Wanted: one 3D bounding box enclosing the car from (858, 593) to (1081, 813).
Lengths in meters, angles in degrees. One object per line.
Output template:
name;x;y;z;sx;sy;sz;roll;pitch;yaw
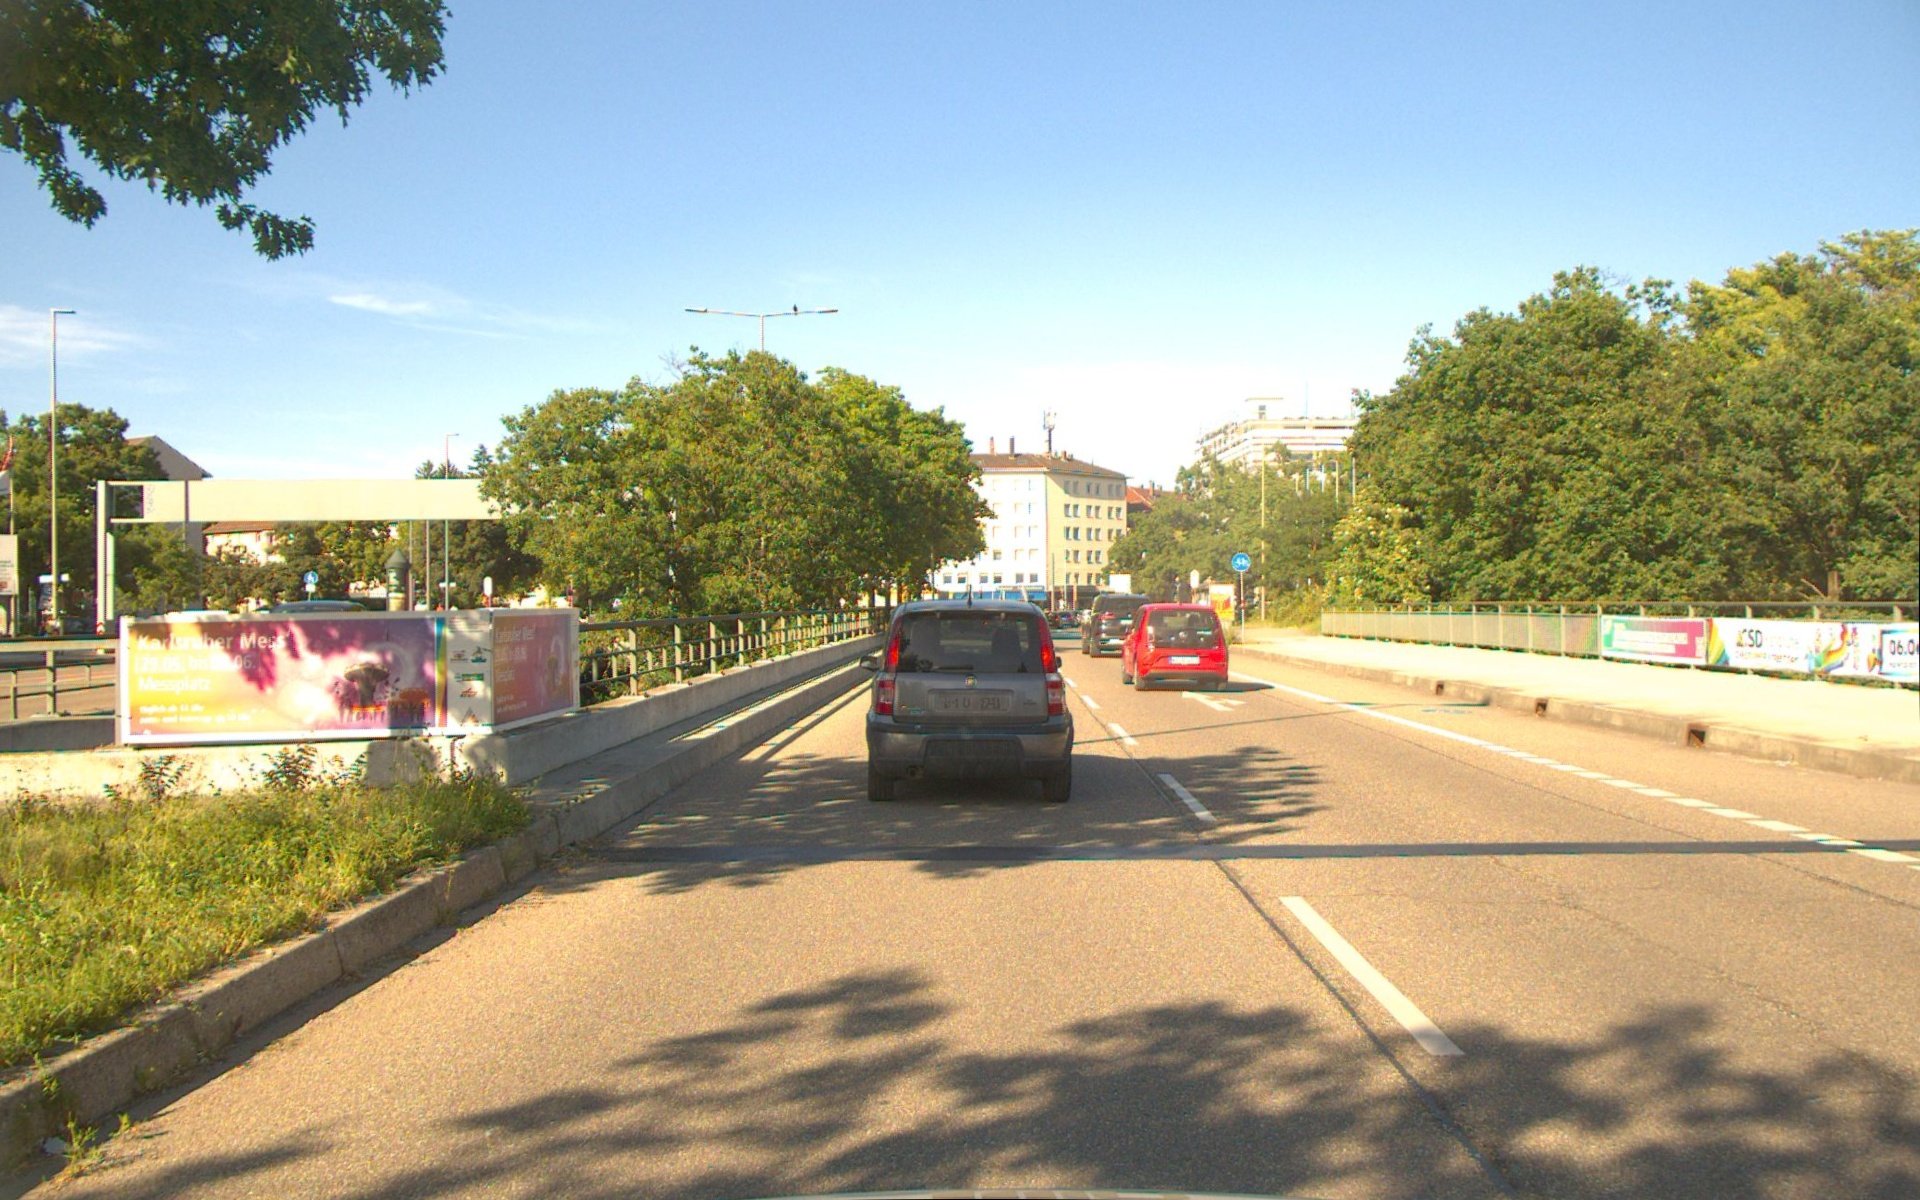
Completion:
car;0.073;0.735;13.868;1.584;1.542;3.820;1;0;0

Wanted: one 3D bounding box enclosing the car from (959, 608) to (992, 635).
car;0.962;1.249;98.995;1.905;1.555;4.098;0;0;1

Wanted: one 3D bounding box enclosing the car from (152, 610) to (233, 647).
car;-45.284;1.690;97.638;4.177;2.049;1.987;-1;0;-22

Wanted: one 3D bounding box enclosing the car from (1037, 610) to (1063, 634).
car;7.633;1.842;140.075;1.904;1.872;4.155;-4;-1;5

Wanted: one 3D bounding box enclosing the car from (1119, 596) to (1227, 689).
car;3.734;0.707;29.501;1.584;1.488;3.752;1;0;2

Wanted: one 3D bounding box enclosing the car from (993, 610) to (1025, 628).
car;4.487;1.700;150.808;1.904;1.555;4.100;-1;0;16

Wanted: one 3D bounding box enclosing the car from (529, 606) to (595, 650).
car;-14.762;1.014;61.533;1.709;1.526;3.996;-1;0;-4

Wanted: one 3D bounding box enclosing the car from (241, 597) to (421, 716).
car;-11.746;0.995;31.197;1.954;2.049;4.330;-1;0;-4

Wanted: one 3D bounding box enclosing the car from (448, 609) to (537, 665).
car;-13.801;1.060;48.977;1.709;1.526;3.996;-1;0;-4

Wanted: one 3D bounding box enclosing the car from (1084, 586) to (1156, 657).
car;4.452;0.610;46.611;1.904;1.872;4.154;1;-1;4

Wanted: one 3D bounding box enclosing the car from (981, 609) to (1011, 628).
car;3.041;1.557;140.291;1.903;1.555;4.101;-1;0;11

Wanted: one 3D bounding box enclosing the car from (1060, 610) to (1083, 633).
car;9.900;1.880;146.736;1.904;1.872;4.155;-4;-1;5
